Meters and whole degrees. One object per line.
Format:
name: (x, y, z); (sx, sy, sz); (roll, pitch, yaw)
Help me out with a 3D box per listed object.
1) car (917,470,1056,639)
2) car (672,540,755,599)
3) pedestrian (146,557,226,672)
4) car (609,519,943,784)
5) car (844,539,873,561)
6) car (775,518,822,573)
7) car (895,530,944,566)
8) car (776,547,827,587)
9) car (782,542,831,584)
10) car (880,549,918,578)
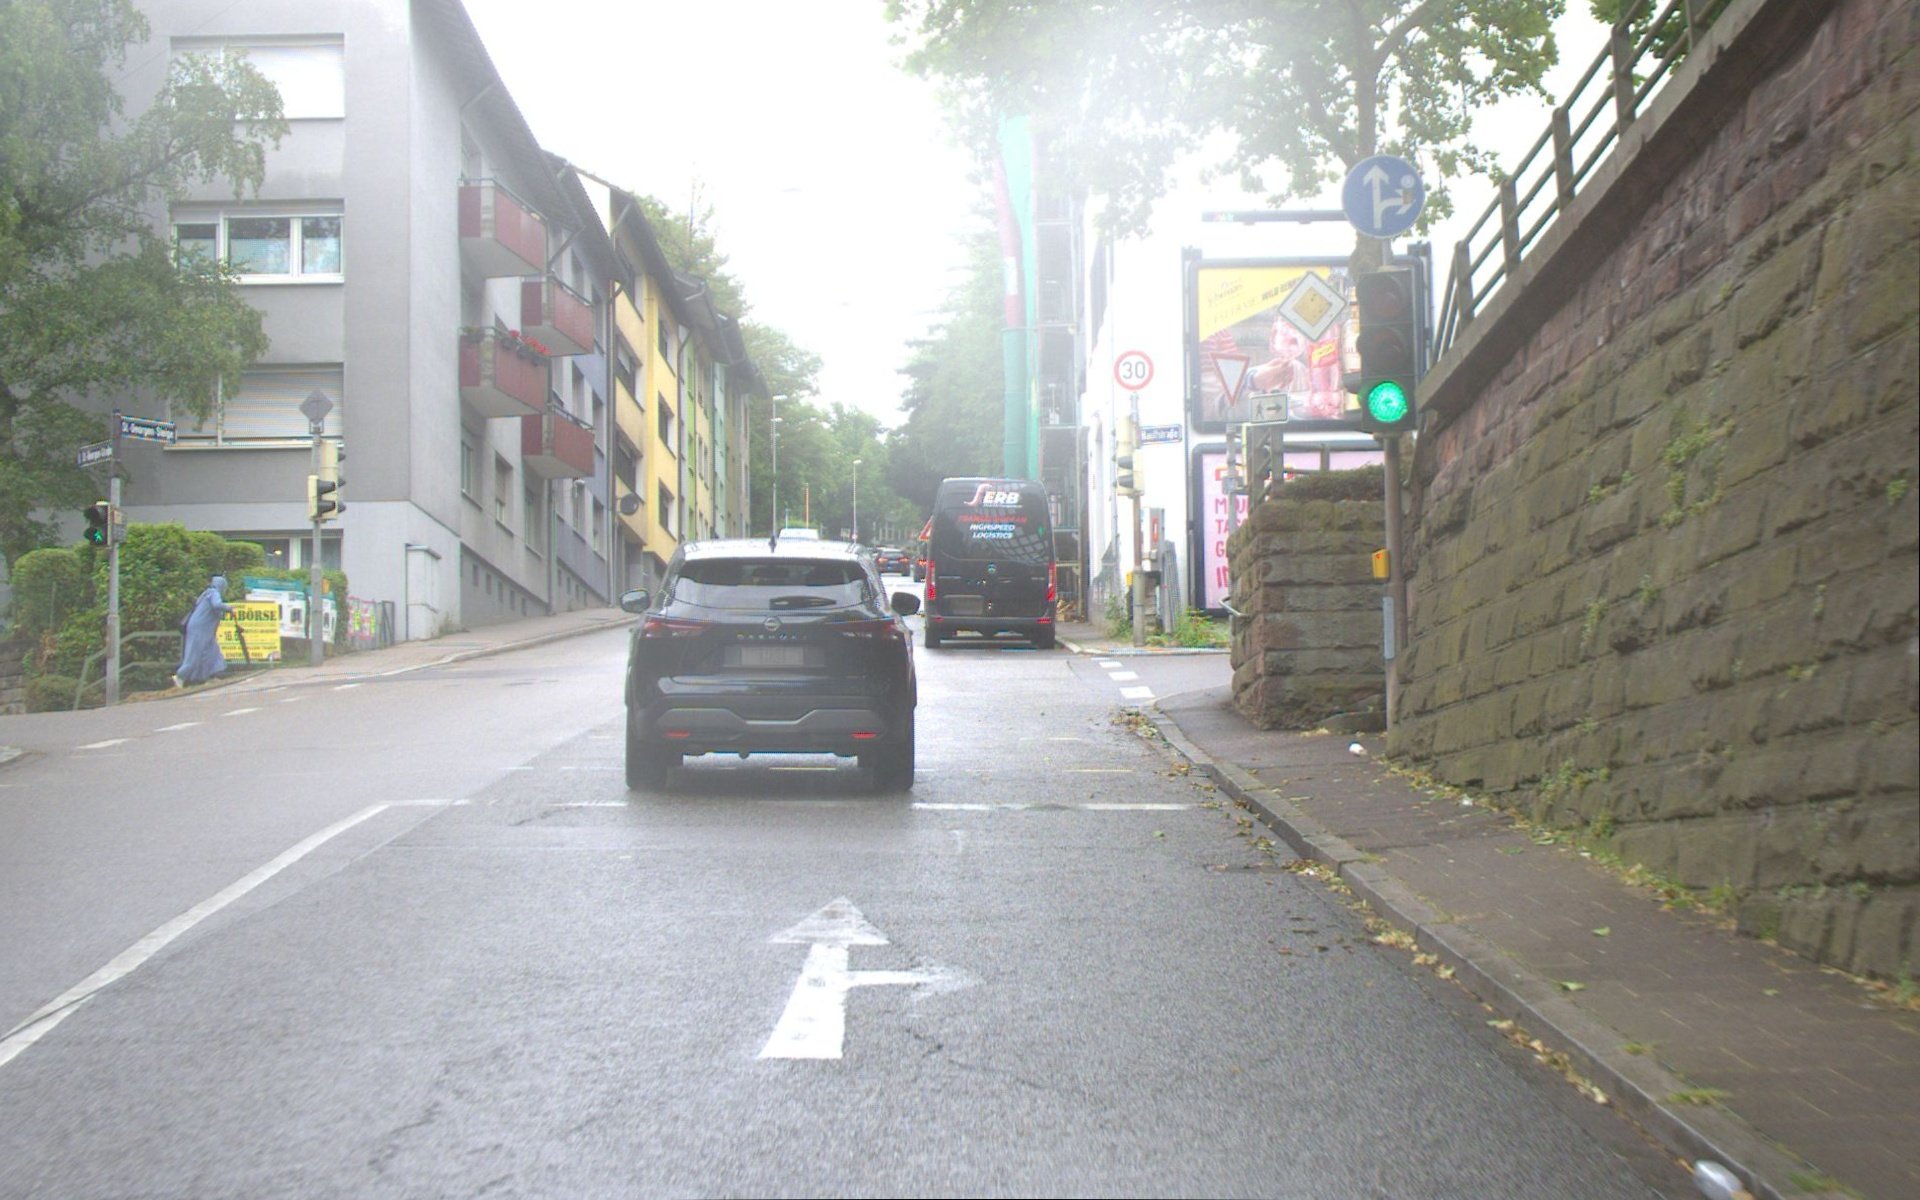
car: (0.398, -0.636, 53.742); (1.993, 2.406, 5.836); (1, -1, 0)
car: (-7.215, -0.910, 100.956); (1.993, 1.644, 4.441); (0, 1, 2)
pedestrian: (-10.569, 0.209, 46.984); (0.869, 1.536, 1.087); (1, -1, -3)
car: (-1.132, 0.266, 22.861); (1.993, 1.554, 4.000); (1, 1, 0)
car: (-7.305, -3.580, 247.747); (2.074, 1.554, 4.000); (0, 1, -2)
car: (-7.343, -2.508, 156.676); (1.990, 2.466, 5.785); (0, 1, -2)
car: (-1.811, -2.321, 153.272); (2.074, 1.554, 4.000); (0, 1, -2)
car: (-6.478, -1.369, 140.468); (1.990, 1.579, 4.305); (0, 1, -2)
car: (-6.562, -1.593, 147.153); (1.990, 1.749, 4.480); (0, 1, -2)
car: (-3.421, -2.050, 192.093); (2.074, 1.554, 4.000); (0, 1, -2)
